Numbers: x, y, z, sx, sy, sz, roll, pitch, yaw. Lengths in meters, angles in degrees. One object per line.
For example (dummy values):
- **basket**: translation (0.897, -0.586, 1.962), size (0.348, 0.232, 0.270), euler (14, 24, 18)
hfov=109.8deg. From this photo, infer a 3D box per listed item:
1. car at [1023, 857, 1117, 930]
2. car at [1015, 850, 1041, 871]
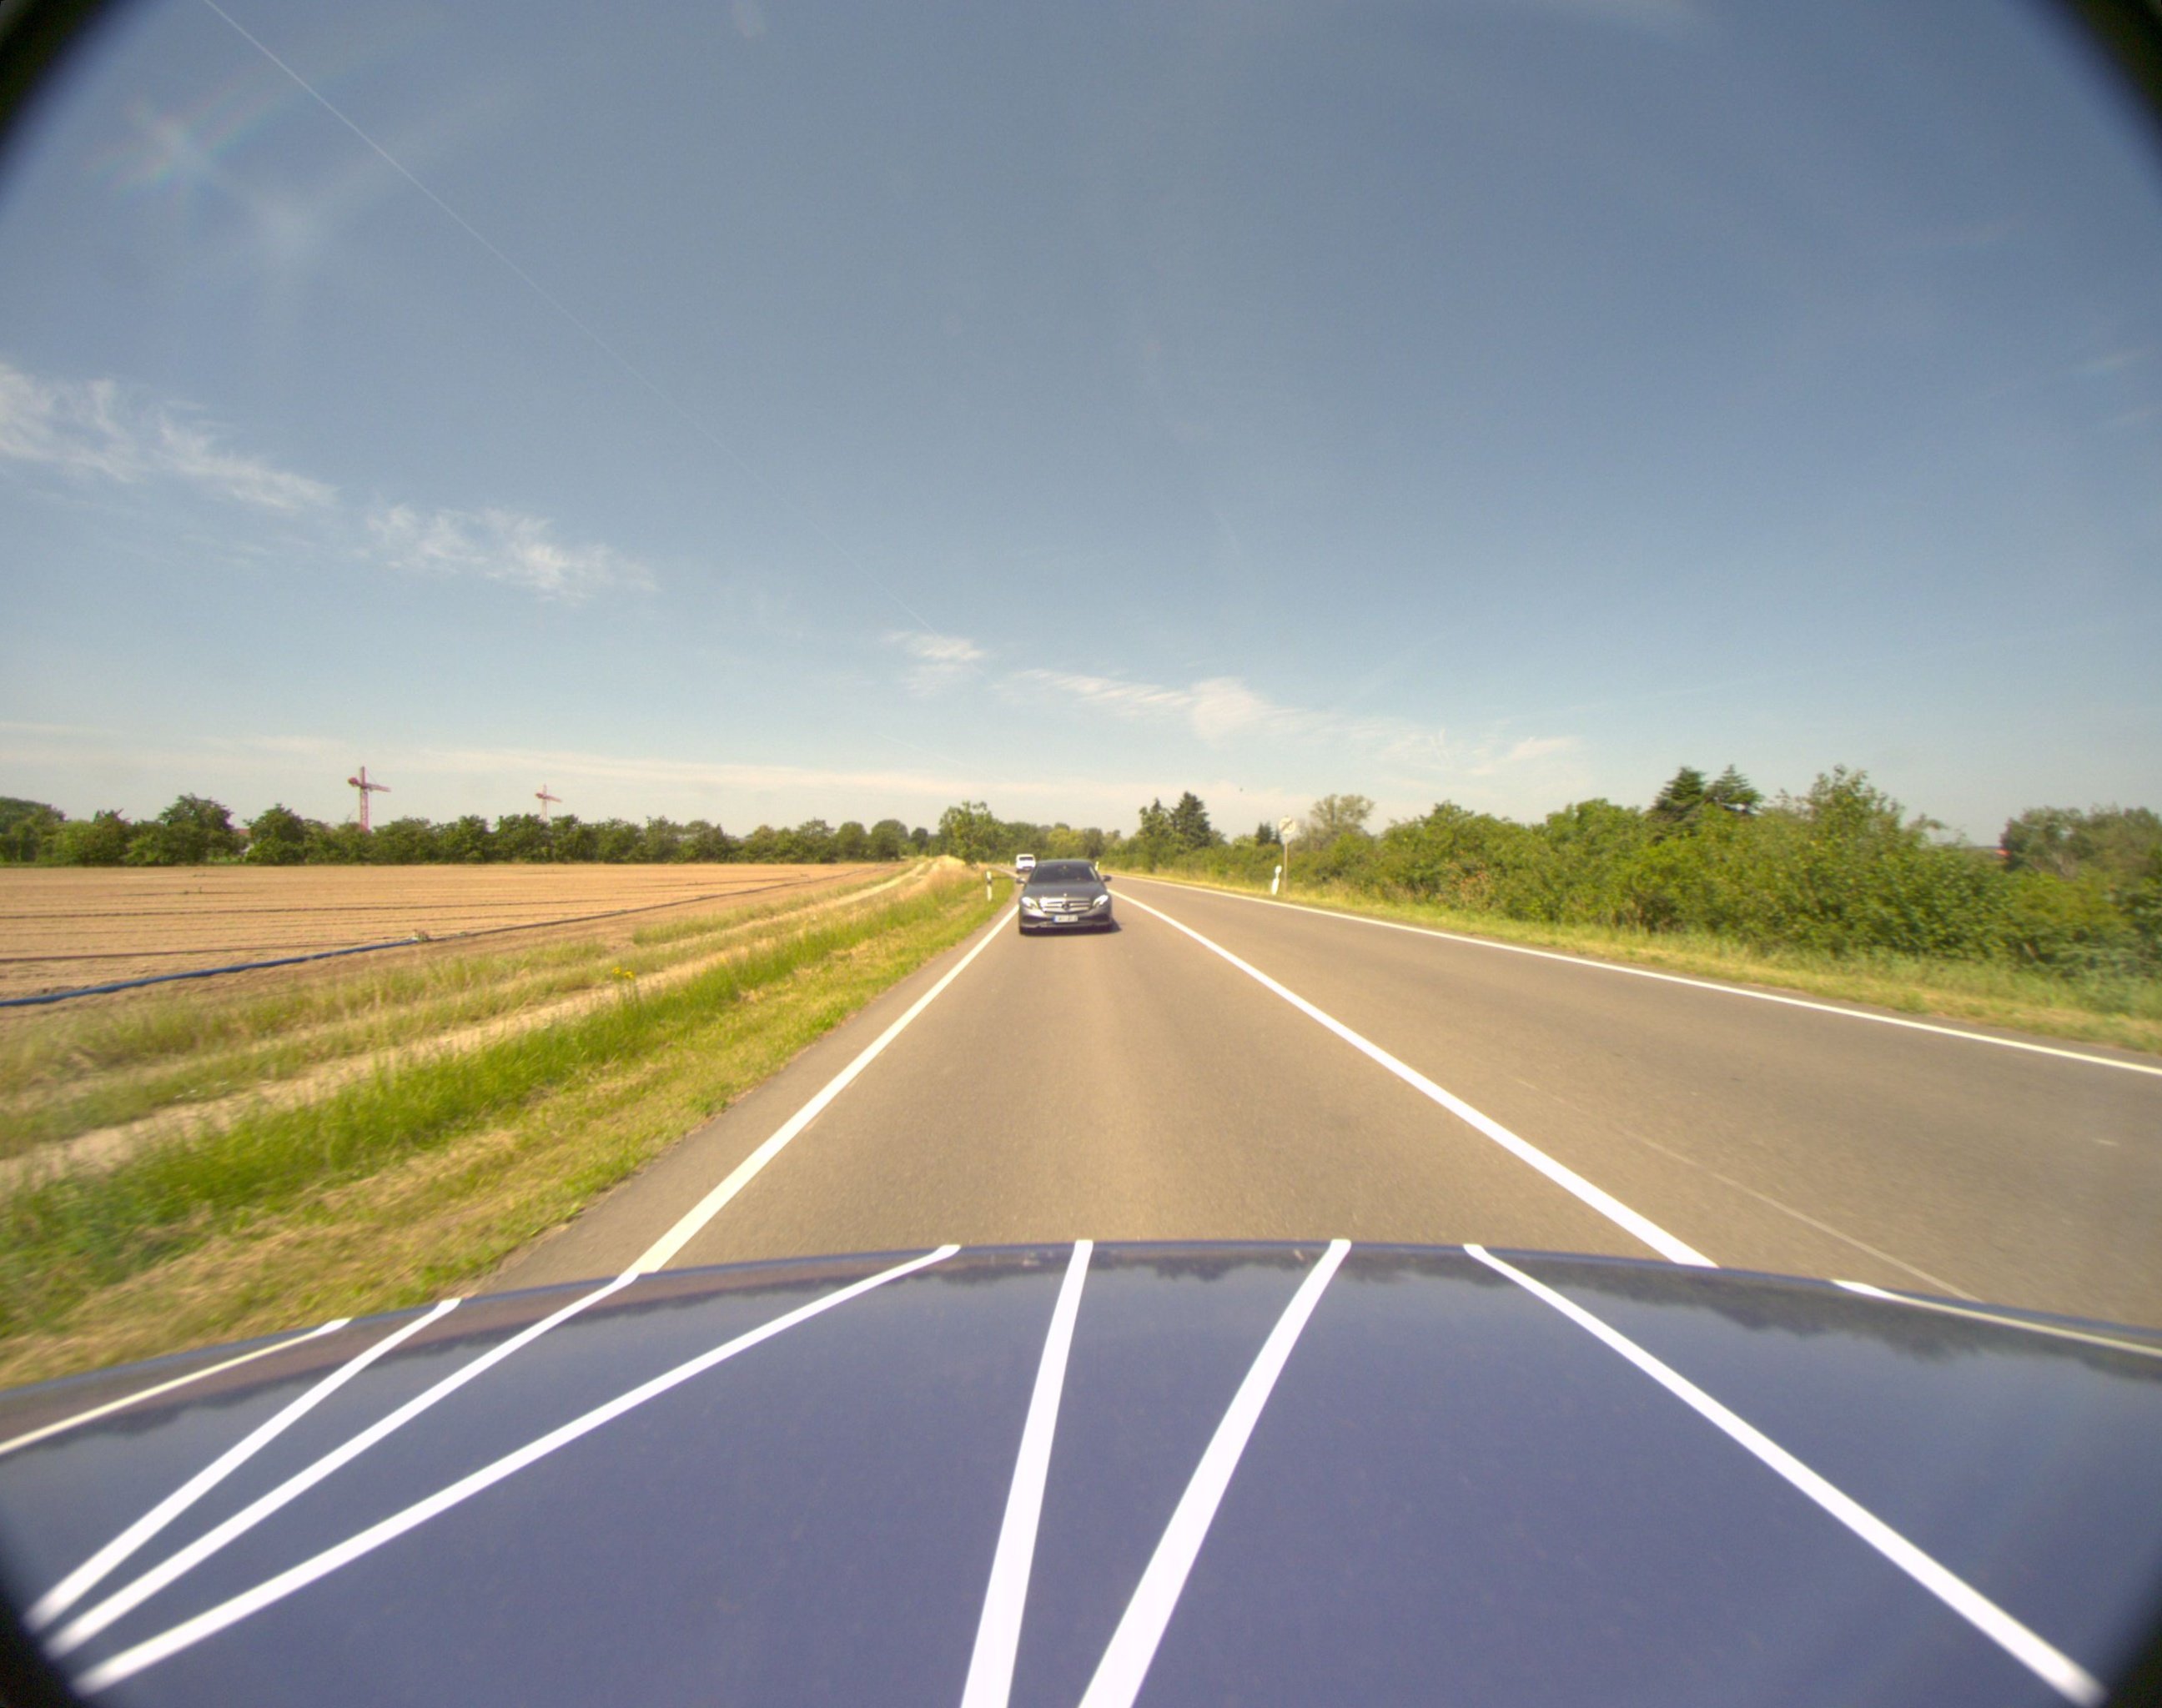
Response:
- **car**: translation (-0.126, 0.870, 18.715), size (1.830, 1.540, 4.500), euler (-1, 0, 5)
- **car**: translation (-5.387, 0.654, 76.602), size (2.181, 2.002, 5.021), euler (-3, 0, -9)
